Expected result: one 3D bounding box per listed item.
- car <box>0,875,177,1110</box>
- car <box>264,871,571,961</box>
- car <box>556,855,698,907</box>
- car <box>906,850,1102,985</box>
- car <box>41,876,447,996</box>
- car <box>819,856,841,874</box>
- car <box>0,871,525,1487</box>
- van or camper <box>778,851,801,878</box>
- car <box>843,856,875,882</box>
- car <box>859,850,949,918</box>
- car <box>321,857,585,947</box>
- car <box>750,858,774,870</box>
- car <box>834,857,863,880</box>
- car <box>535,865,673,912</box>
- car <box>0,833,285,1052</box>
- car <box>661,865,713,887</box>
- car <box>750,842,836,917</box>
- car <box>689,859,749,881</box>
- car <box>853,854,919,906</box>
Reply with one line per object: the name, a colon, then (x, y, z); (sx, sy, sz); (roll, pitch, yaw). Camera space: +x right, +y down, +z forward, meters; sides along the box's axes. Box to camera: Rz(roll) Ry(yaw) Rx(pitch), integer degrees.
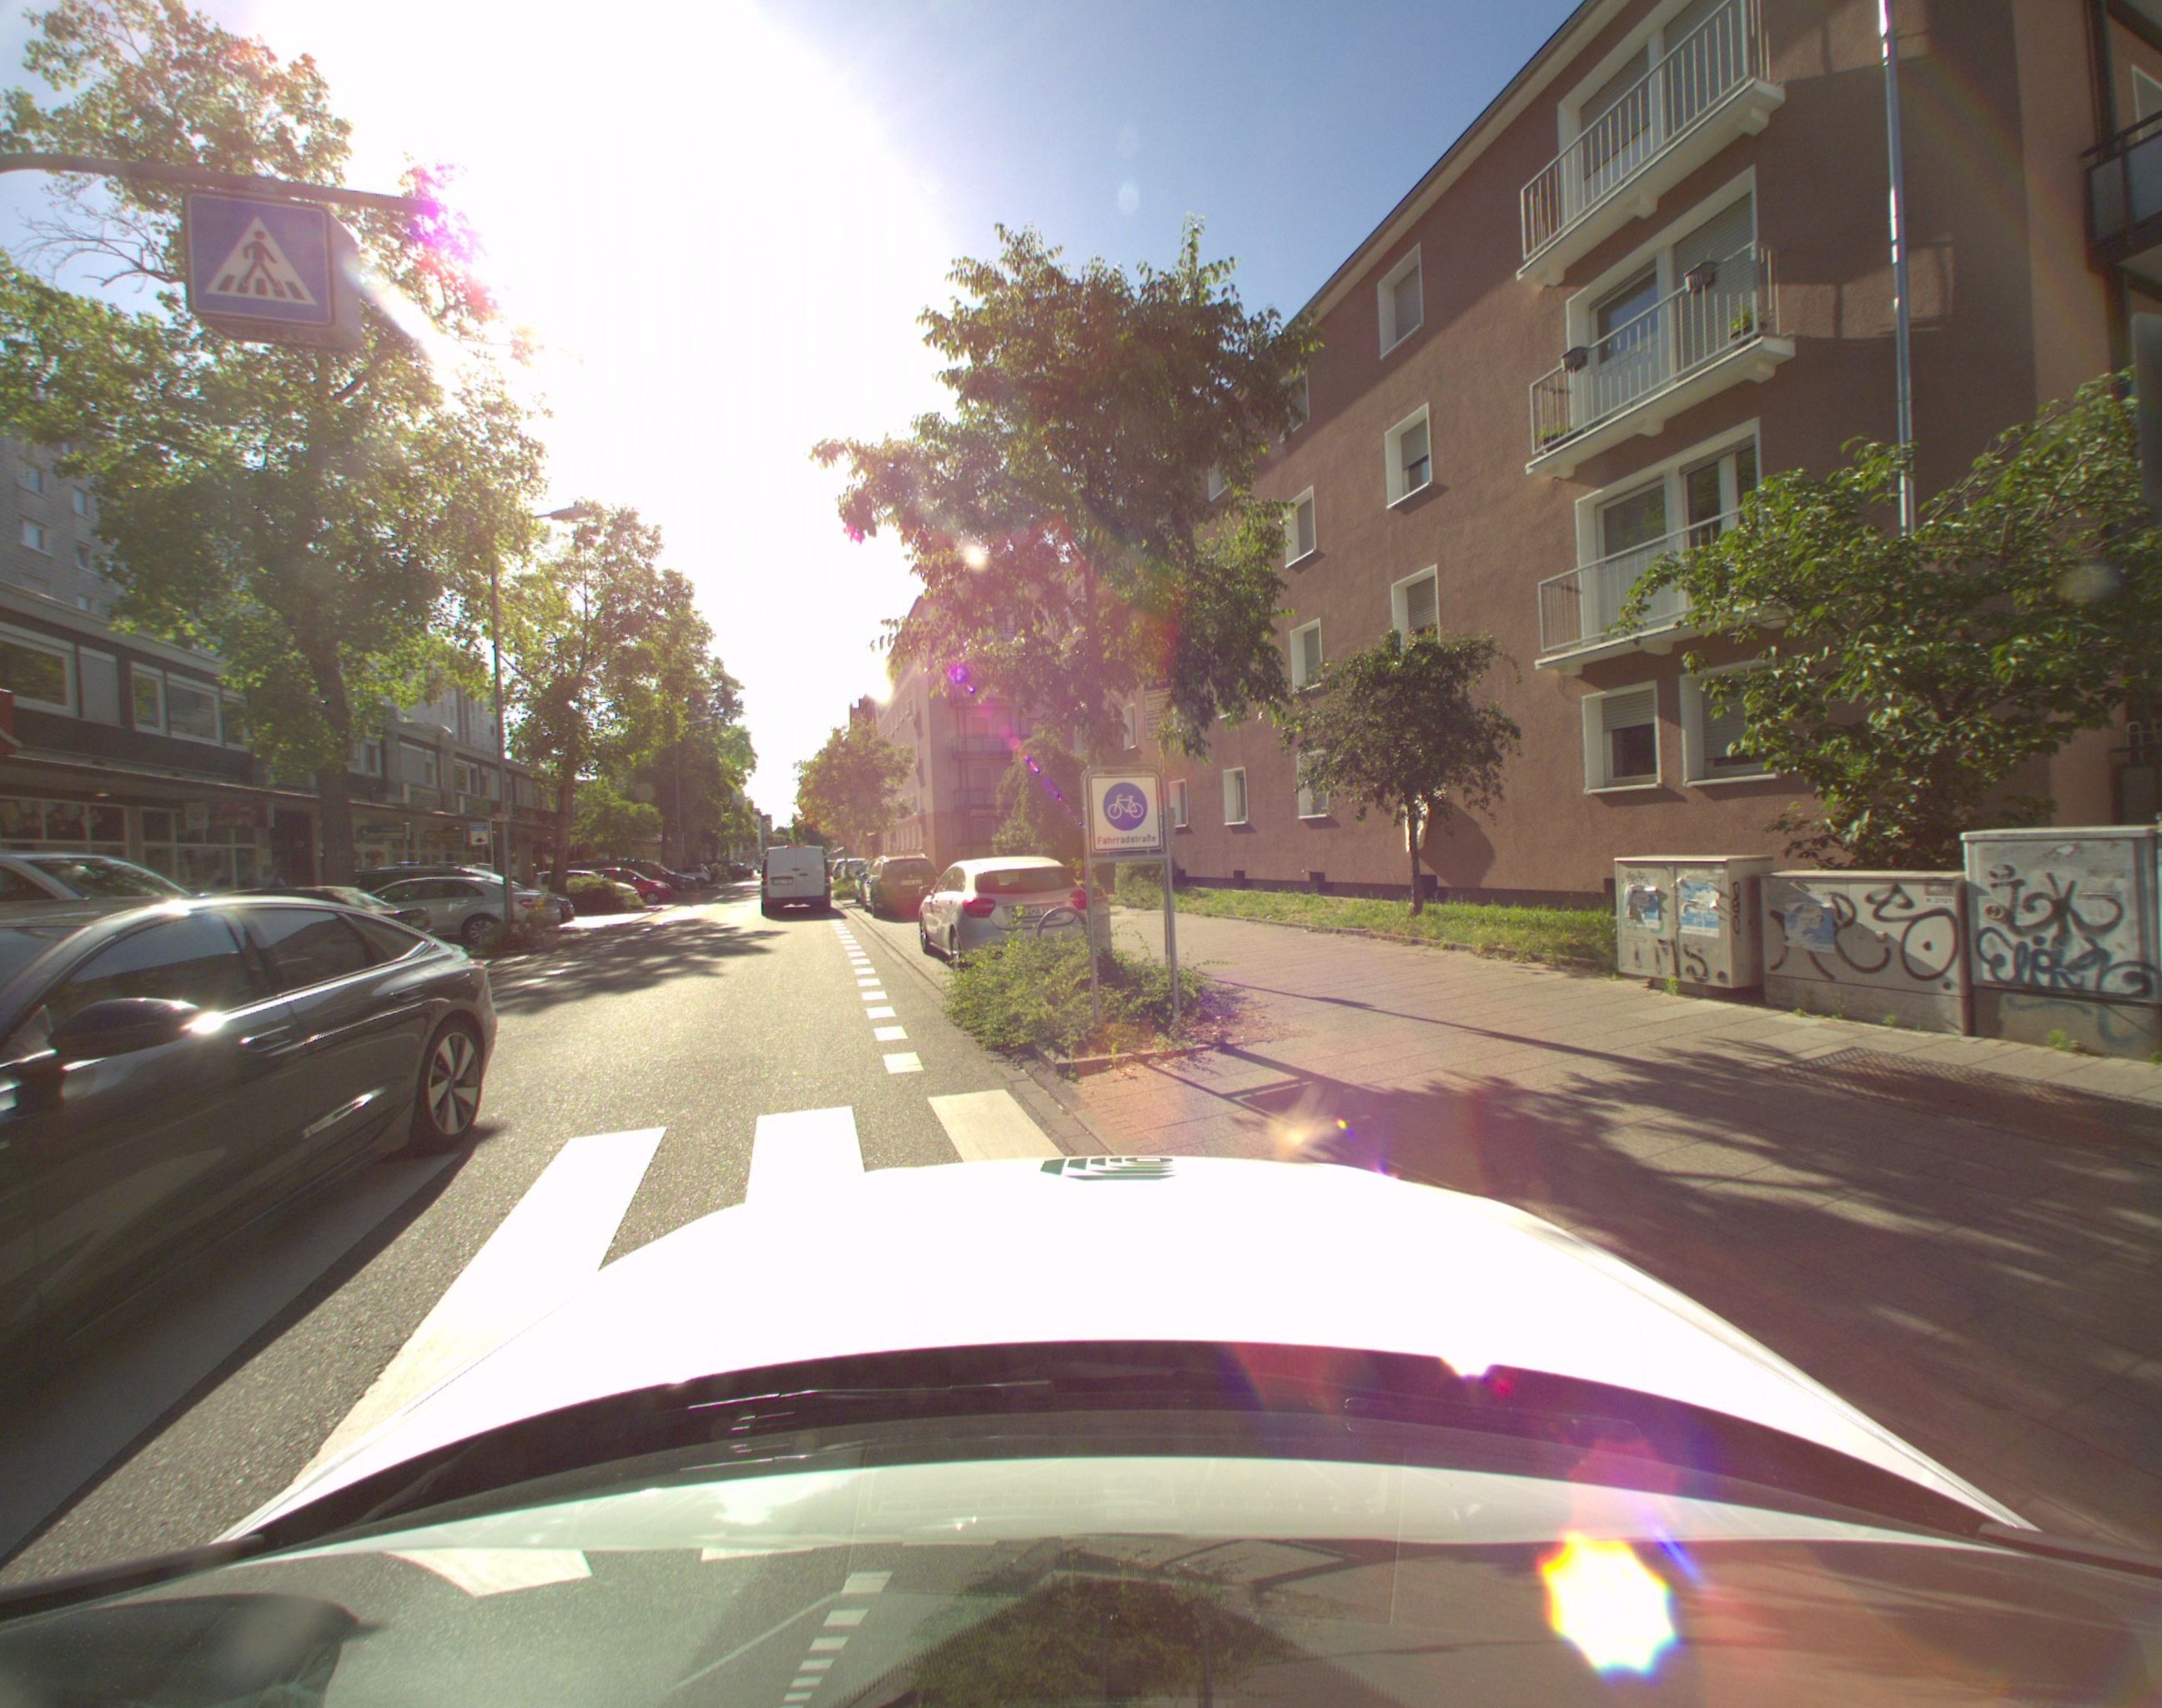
car: (-9.911, 1.093, 5.758); (4.306, 1.612, 1.746); (-3, 0, -21)
car: (-13.827, 1.224, 17.362); (4.673, 1.493, 1.815); (-2, 0, -21)
car: (-20.058, 1.156, 36.230); (5.232, 1.981, 1.650); (-2, 0, -21)
car: (-1.279, 0.731, 11.464); (1.746, 1.453, 4.128); (-3, 0, -20)
car: (-12.747, 1.175, 12.772); (4.044, 1.494, 1.705); (-2, 0, -21)
car: (-22.952, 1.030, 74.440); (1.745, 1.519, 3.833); (-3, 0, -19)
car: (-3.891, 0.873, 2.756); (1.913, 1.453, 4.552); (-3, 0, -16)
van or camper: (-28.899, 1.002, 80.835); (2.000, 2.475, 5.782); (-3, 1, -19)
car: (-14.399, 0.941, 52.671); (1.745, 1.519, 3.833); (-3, 0, -19)
car: (-4.726, 0.714, 21.297); (1.788, 1.519, 4.281); (-3, 0, -19)
car: (-14.941, 1.065, 19.726); (4.643, 1.804, 1.824); (-2, 0, -21)
car: (-60.524, 1.951, 154.488); (4.005, 2.013, 1.984); (-3, 0, -24)
car: (-16.521, 1.006, 57.802); (1.745, 1.519, 3.833); (-3, 0, -19)
car: (-19.603, 1.379, 33.691); (4.643, 1.610, 1.650); (-2, 0, -21)
car: (-11.405, 0.852, 7.954); (4.748, 2.006, 1.945); (-1, 0, -22)
car: (-27.920, 1.531, 57.779); (3.110, 1.408, 1.650); (-2, 0, -21)
car: (-8.676, 0.679, 24.548); (2.108, 1.907, 5.388); (-3, 1, -20)
car: (-35.985, 1.577, 81.050); (5.232, 1.981, 1.650); (-2, 0, -21)
car: (-6.594, 0.807, 27.269); (1.745, 1.519, 3.833); (-3, 0, -19)
